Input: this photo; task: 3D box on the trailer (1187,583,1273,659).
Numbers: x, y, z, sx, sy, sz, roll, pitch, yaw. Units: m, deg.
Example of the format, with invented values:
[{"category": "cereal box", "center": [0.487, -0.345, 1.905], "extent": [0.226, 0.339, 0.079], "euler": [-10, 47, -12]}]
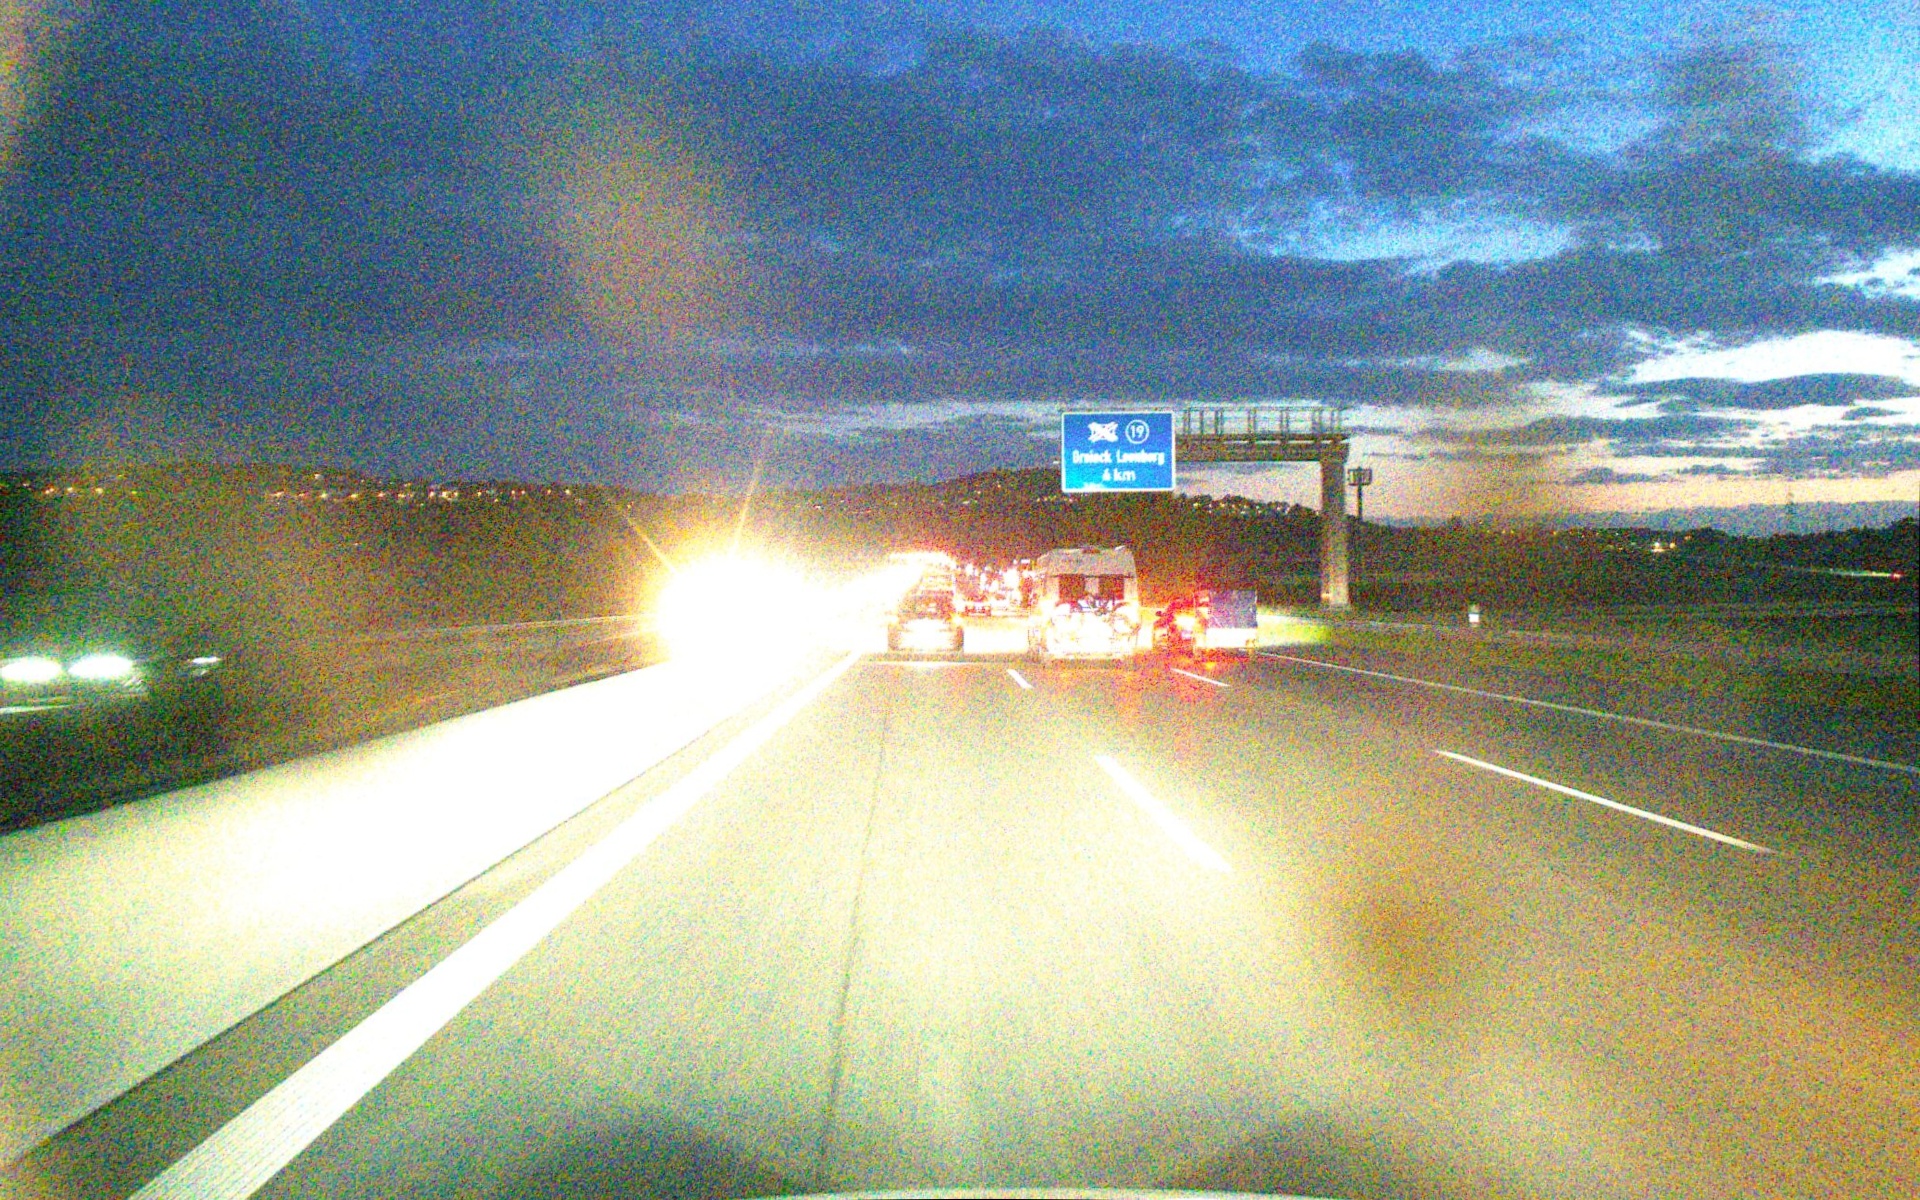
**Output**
[{"category": "trailer", "center": [6.395, 0.479, 39.375], "extent": [1.534, 1.723, 2.820], "euler": [-1, 0, -1]}]

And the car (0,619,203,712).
[{"category": "car", "center": [-16.782, 1.216, 32.049], "extent": [1.953, 1.504, 5.043], "euler": [-3, 0, -2]}]

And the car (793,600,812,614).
[{"category": "car", "center": [-18.701, 0.788, 196.204], "extent": [1.953, 1.660, 3.999], "euler": [0, 0, -1]}]

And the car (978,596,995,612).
[{"category": "car", "center": [3.253, 0.468, 201.506], "extent": [1.953, 1.982, 3.999], "euler": [0, 0, -1]}]

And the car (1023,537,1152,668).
[{"category": "car", "center": [2.678, 0.013, 36.177], "extent": [2.303, 2.579, 5.700], "euler": [-1, 1, -1]}]

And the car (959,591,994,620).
[{"category": "car", "center": [1.145, 0.386, 116.216], "extent": [2.303, 1.947, 4.722], "euler": [-1, 0, -1]}]

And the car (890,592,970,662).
[{"category": "car", "center": [-0.679, 0.588, 38.490], "extent": [1.757, 1.494, 3.772], "euler": [0, 1, -1]}]

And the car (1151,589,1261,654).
[{"category": "car", "center": [6.324, 0.510, 43.038], "extent": [2.119, 1.591, 4.722], "euler": [0, 0, -1]}]

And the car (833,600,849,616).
[{"category": "car", "center": [-14.860, 0.979, 206.462], "extent": [1.737, 2.002, 3.999], "euler": [-1, 0, -1]}]

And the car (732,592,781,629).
[{"category": "car", "center": [-9.605, 0.492, 78.268], "extent": [1.775, 1.671, 4.157], "euler": [-1, 0, -1]}]

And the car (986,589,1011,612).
[{"category": "car", "center": [3.736, 0.041, 162.552], "extent": [2.303, 2.112, 4.722], "euler": [-1, 1, -1]}]

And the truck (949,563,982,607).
[{"category": "truck", "center": [0.477, -1.374, 156.329], "extent": [2.725, 4.024, 7.989], "euler": [-1, 0, -2]}]

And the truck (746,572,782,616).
[{"category": "truck", "center": [-18.749, -0.588, 158.689], "extent": [2.725, 4.024, 7.989], "euler": [-1, 0, -2]}]

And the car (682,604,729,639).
[{"category": "car", "center": [-12.906, 1.058, 84.128], "extent": [1.775, 1.671, 4.157], "euler": [-1, 0, -1]}]
